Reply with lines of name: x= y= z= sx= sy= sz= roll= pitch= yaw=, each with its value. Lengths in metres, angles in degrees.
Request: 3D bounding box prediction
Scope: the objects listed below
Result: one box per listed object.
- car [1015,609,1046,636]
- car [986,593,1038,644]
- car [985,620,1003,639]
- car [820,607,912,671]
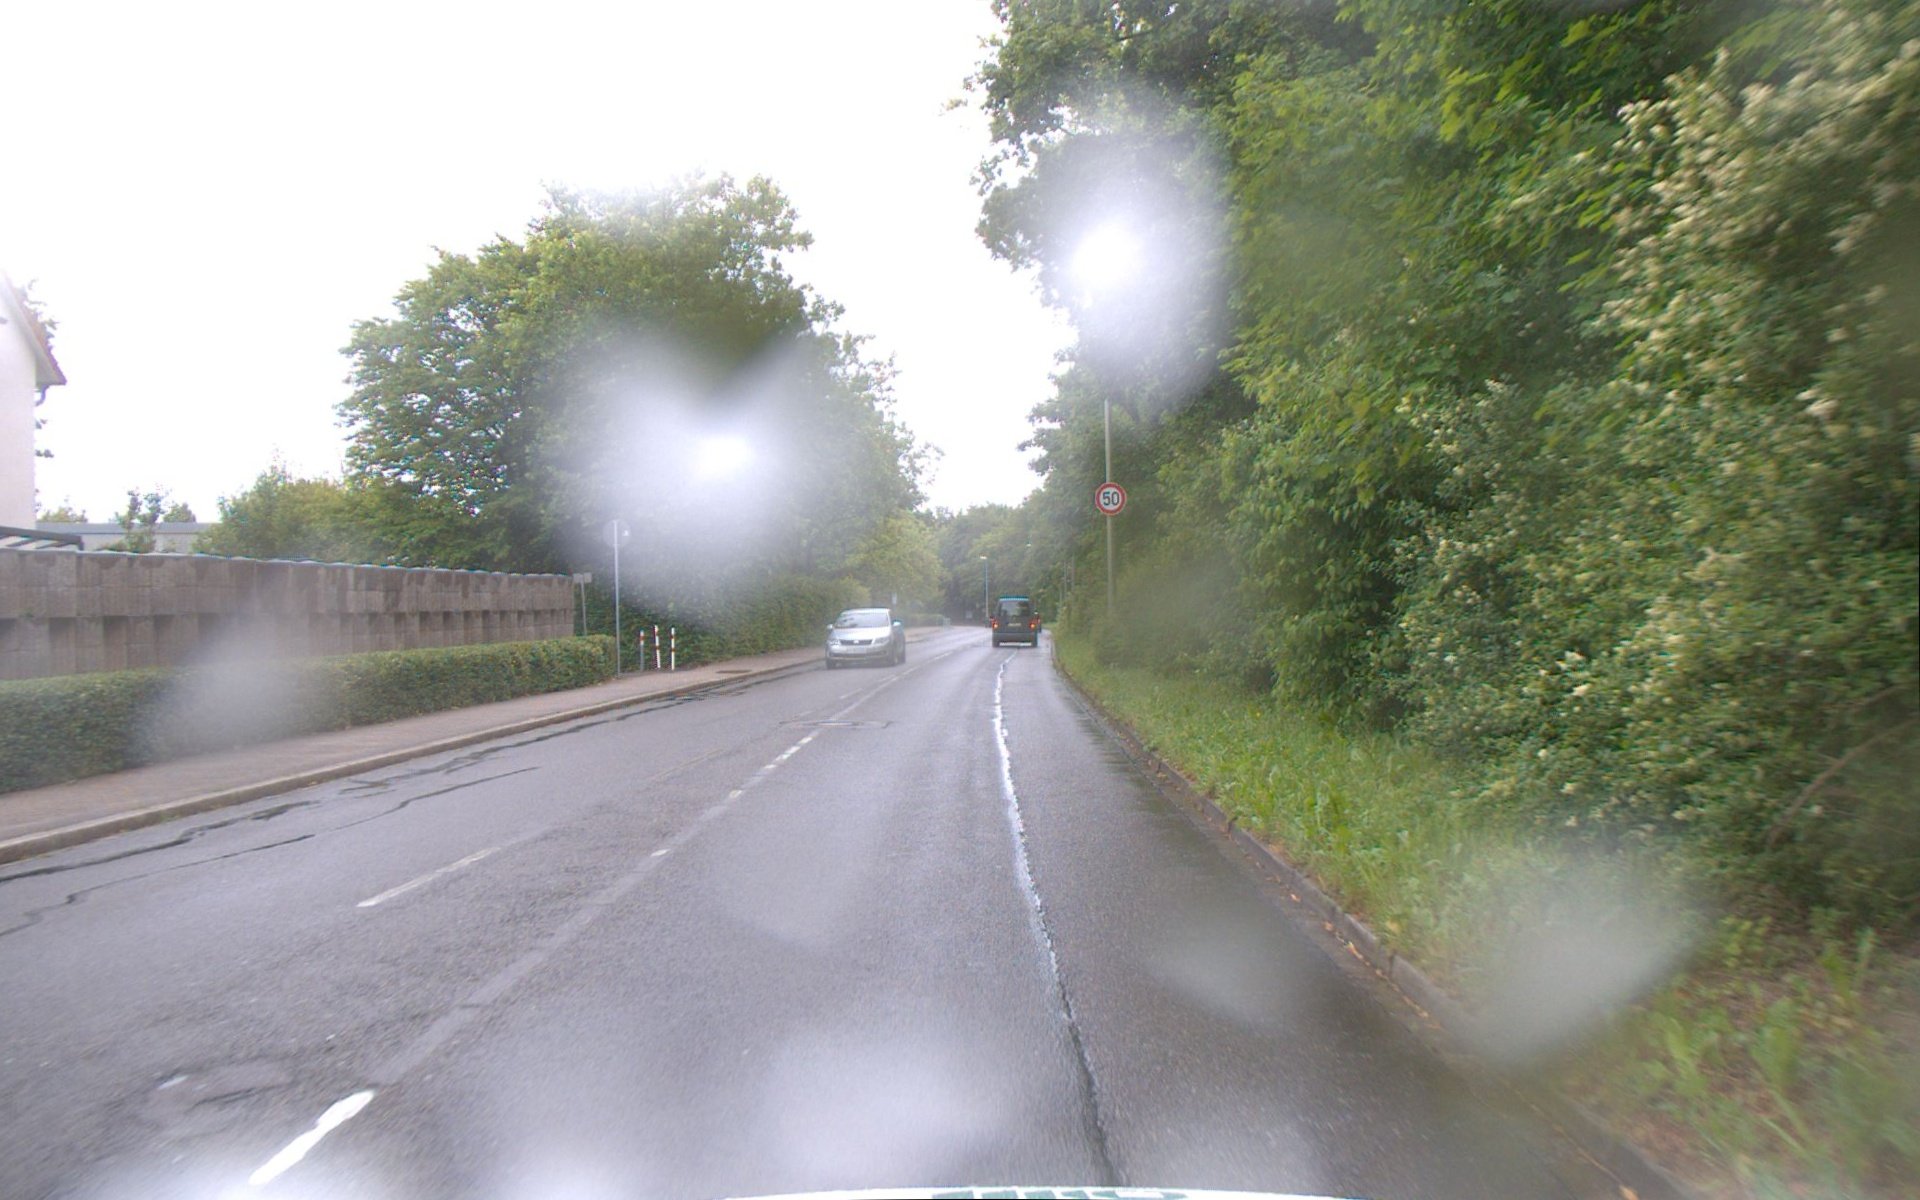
car: x=5.069 y=1.595 z=119.044 sx=1.911 sy=1.780 sz=3.999 roll=-2 pitch=1 yaw=-2
car: x=2.052 y=0.697 z=64.844 sx=1.952 sy=1.825 sz=4.002 roll=1 pitch=1 yaw=2
car: x=3.727 y=3.208 z=180.625 sx=1.952 sy=2.049 sz=4.000 roll=1 pitch=0 yaw=1
car: x=-2.365 y=0.969 z=42.798 sx=1.952 sy=1.445 sz=4.486 roll=-3 pitch=0 yaw=1
